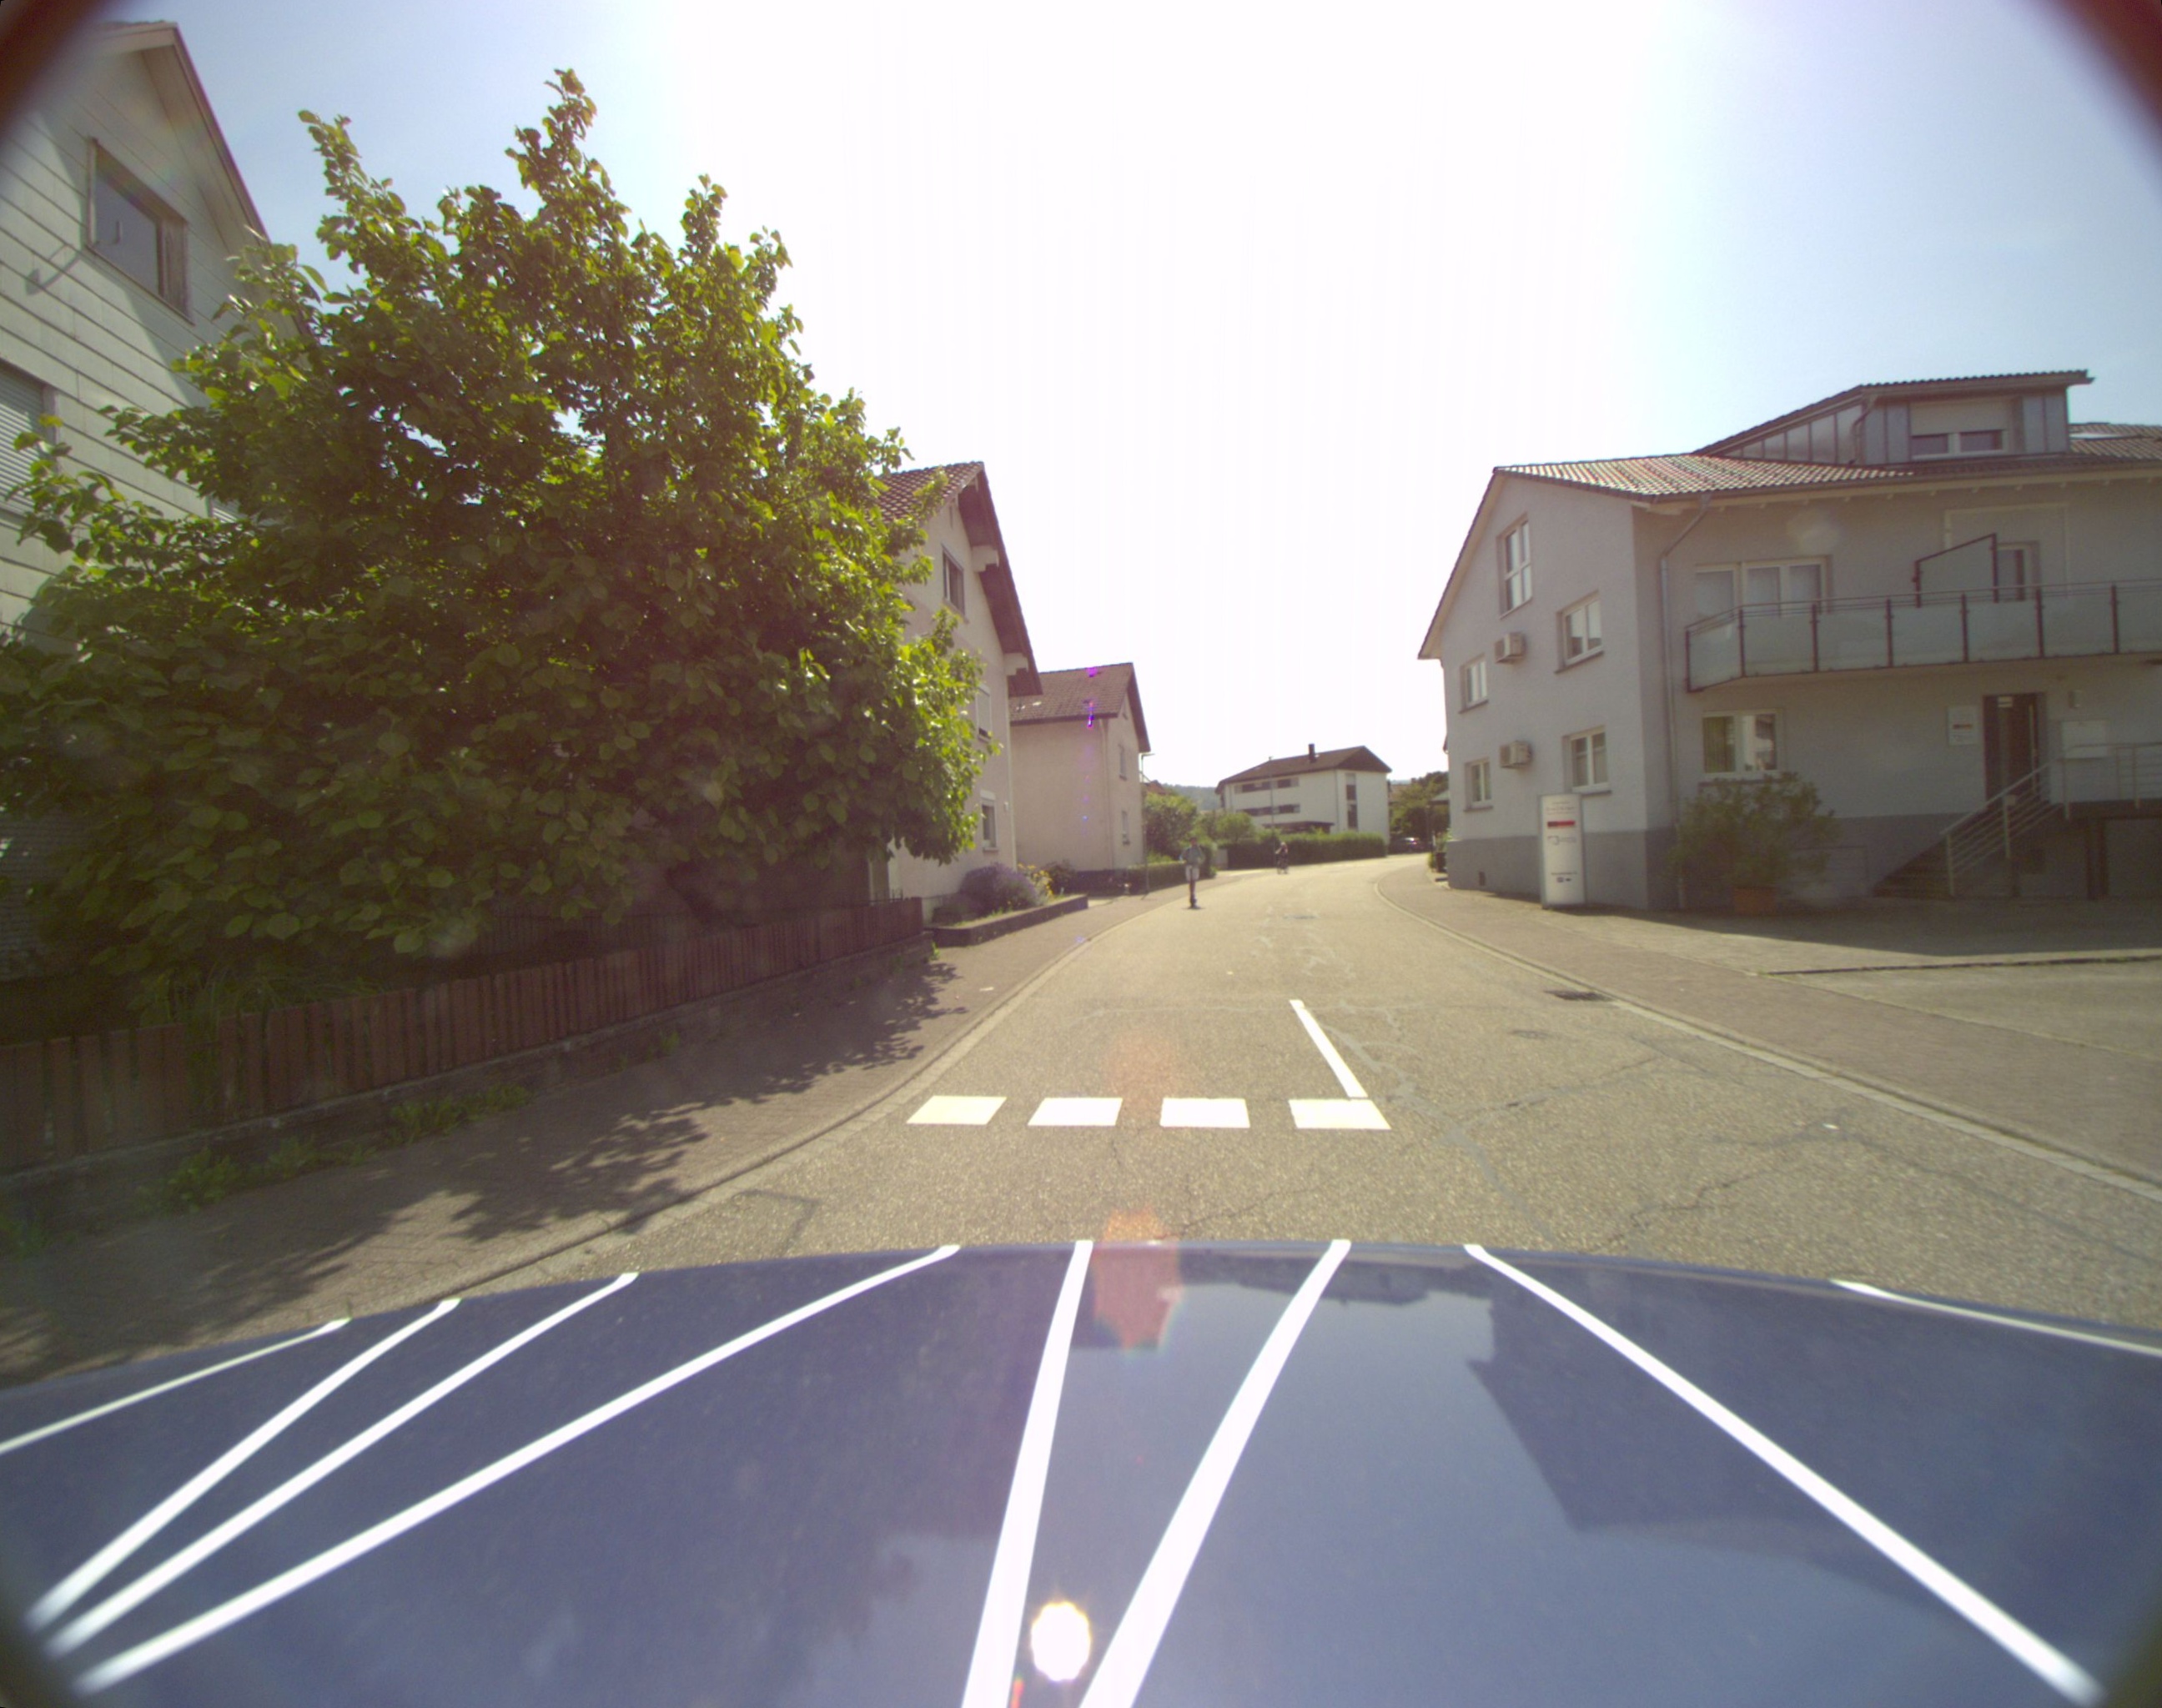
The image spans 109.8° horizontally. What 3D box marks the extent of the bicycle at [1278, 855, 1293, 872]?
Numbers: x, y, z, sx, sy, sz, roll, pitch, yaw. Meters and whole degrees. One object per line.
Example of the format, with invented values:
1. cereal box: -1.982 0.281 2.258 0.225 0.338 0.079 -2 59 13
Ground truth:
1. bicycle: 11.250 0.524 41.699 0.520 0.899 1.315 -2 1 26

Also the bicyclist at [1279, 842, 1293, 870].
1. bicyclist: 11.236 0.093 41.707 0.546 1.481 0.798 -2 1 25

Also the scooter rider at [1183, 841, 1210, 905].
1. scooter rider: 3.159 0.505 20.779 0.616 1.714 0.640 -3 1 10

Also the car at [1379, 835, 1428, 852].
1. car: 33.989 -1.052 80.073 4.280 1.662 2.069 -1 2 44

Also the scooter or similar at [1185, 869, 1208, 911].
1. scooter or similar: 3.173 0.973 20.783 0.542 1.083 0.691 -3 1 10
